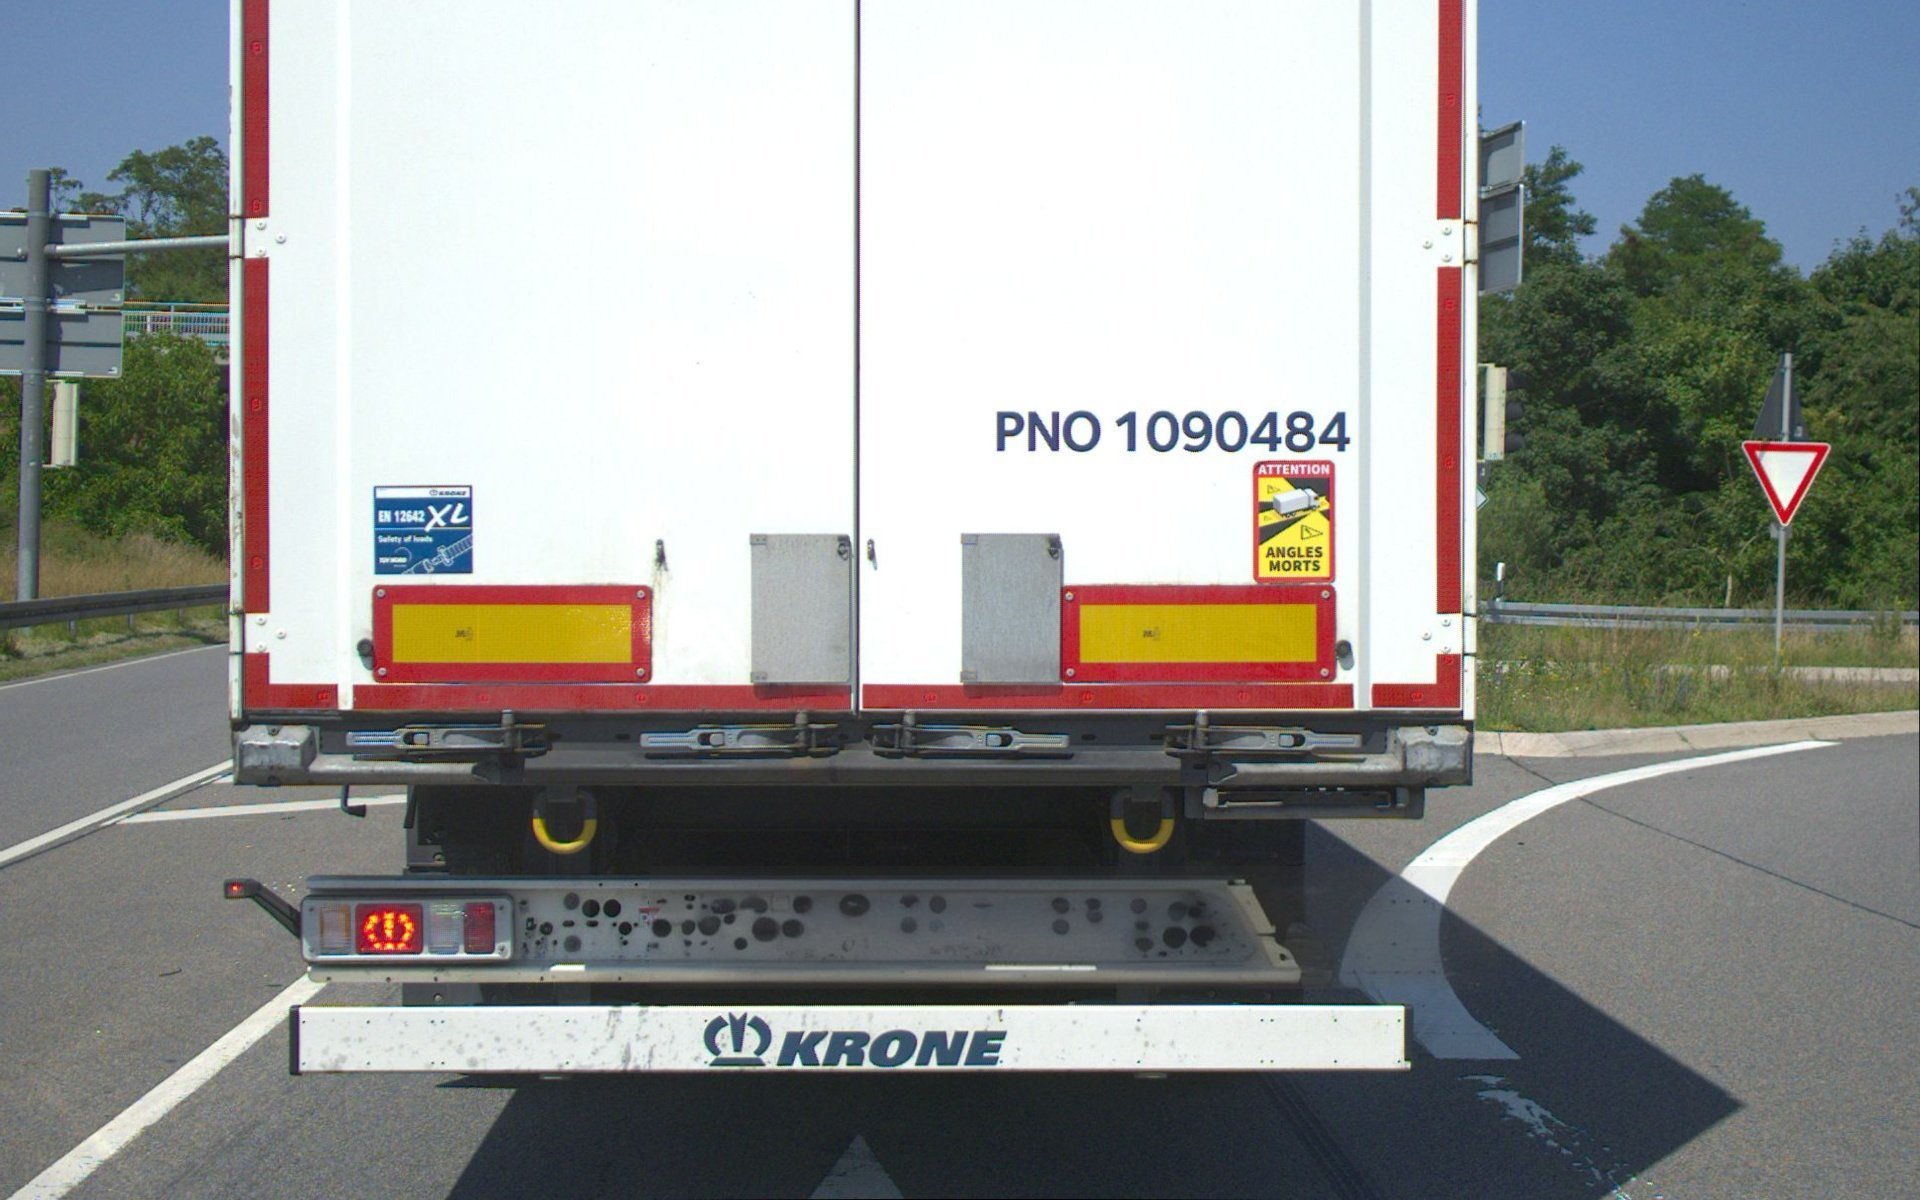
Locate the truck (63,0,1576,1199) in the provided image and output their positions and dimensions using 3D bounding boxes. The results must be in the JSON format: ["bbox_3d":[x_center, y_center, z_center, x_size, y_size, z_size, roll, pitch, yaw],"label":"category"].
[{"bbox_3d":[-0.376,-0.662,11.772,2.987,3.928,9.876,1,1,-1],"label":"truck"}]

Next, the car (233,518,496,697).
[{"bbox_3d":[-5.599,0.028,32.823,1.762,1.592,4.501,0,1,-1],"label":"car"}]

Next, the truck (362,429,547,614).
[{"bbox_3d":[-10.156,-1.537,69.761,2.644,3.526,7.890,1,0,-1],"label":"truck"}]
